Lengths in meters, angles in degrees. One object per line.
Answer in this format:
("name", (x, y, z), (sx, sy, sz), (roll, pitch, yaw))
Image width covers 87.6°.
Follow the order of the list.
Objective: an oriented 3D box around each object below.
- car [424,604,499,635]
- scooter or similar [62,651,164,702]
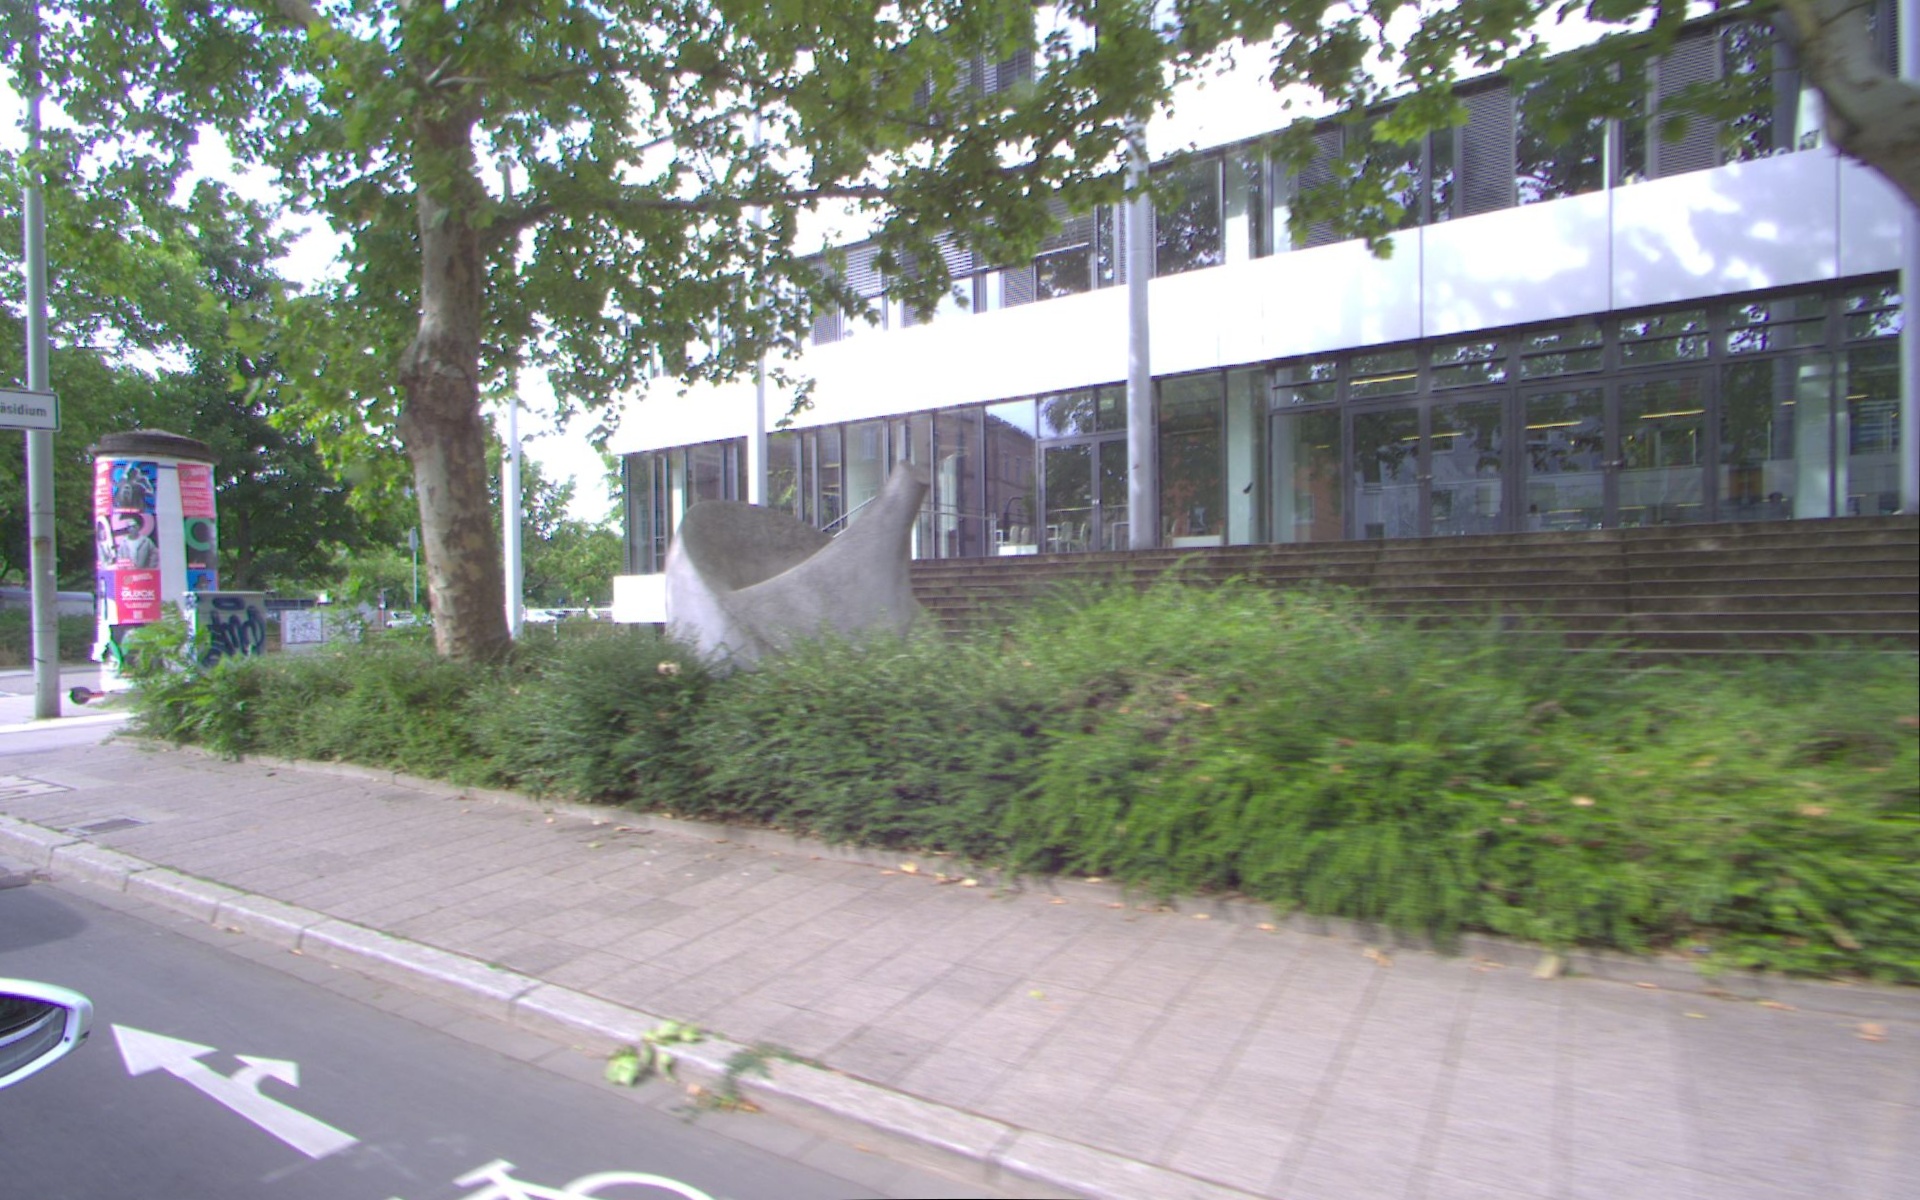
("car", (-28.700, 1.108, 57.632), (4.091, 1.673, 1.958), (-1, 0, 30))
("scooter or similar", (-13.782, 1.234, 16.320), (0.364, 0.746, 1.216), (0, 0, 32))
